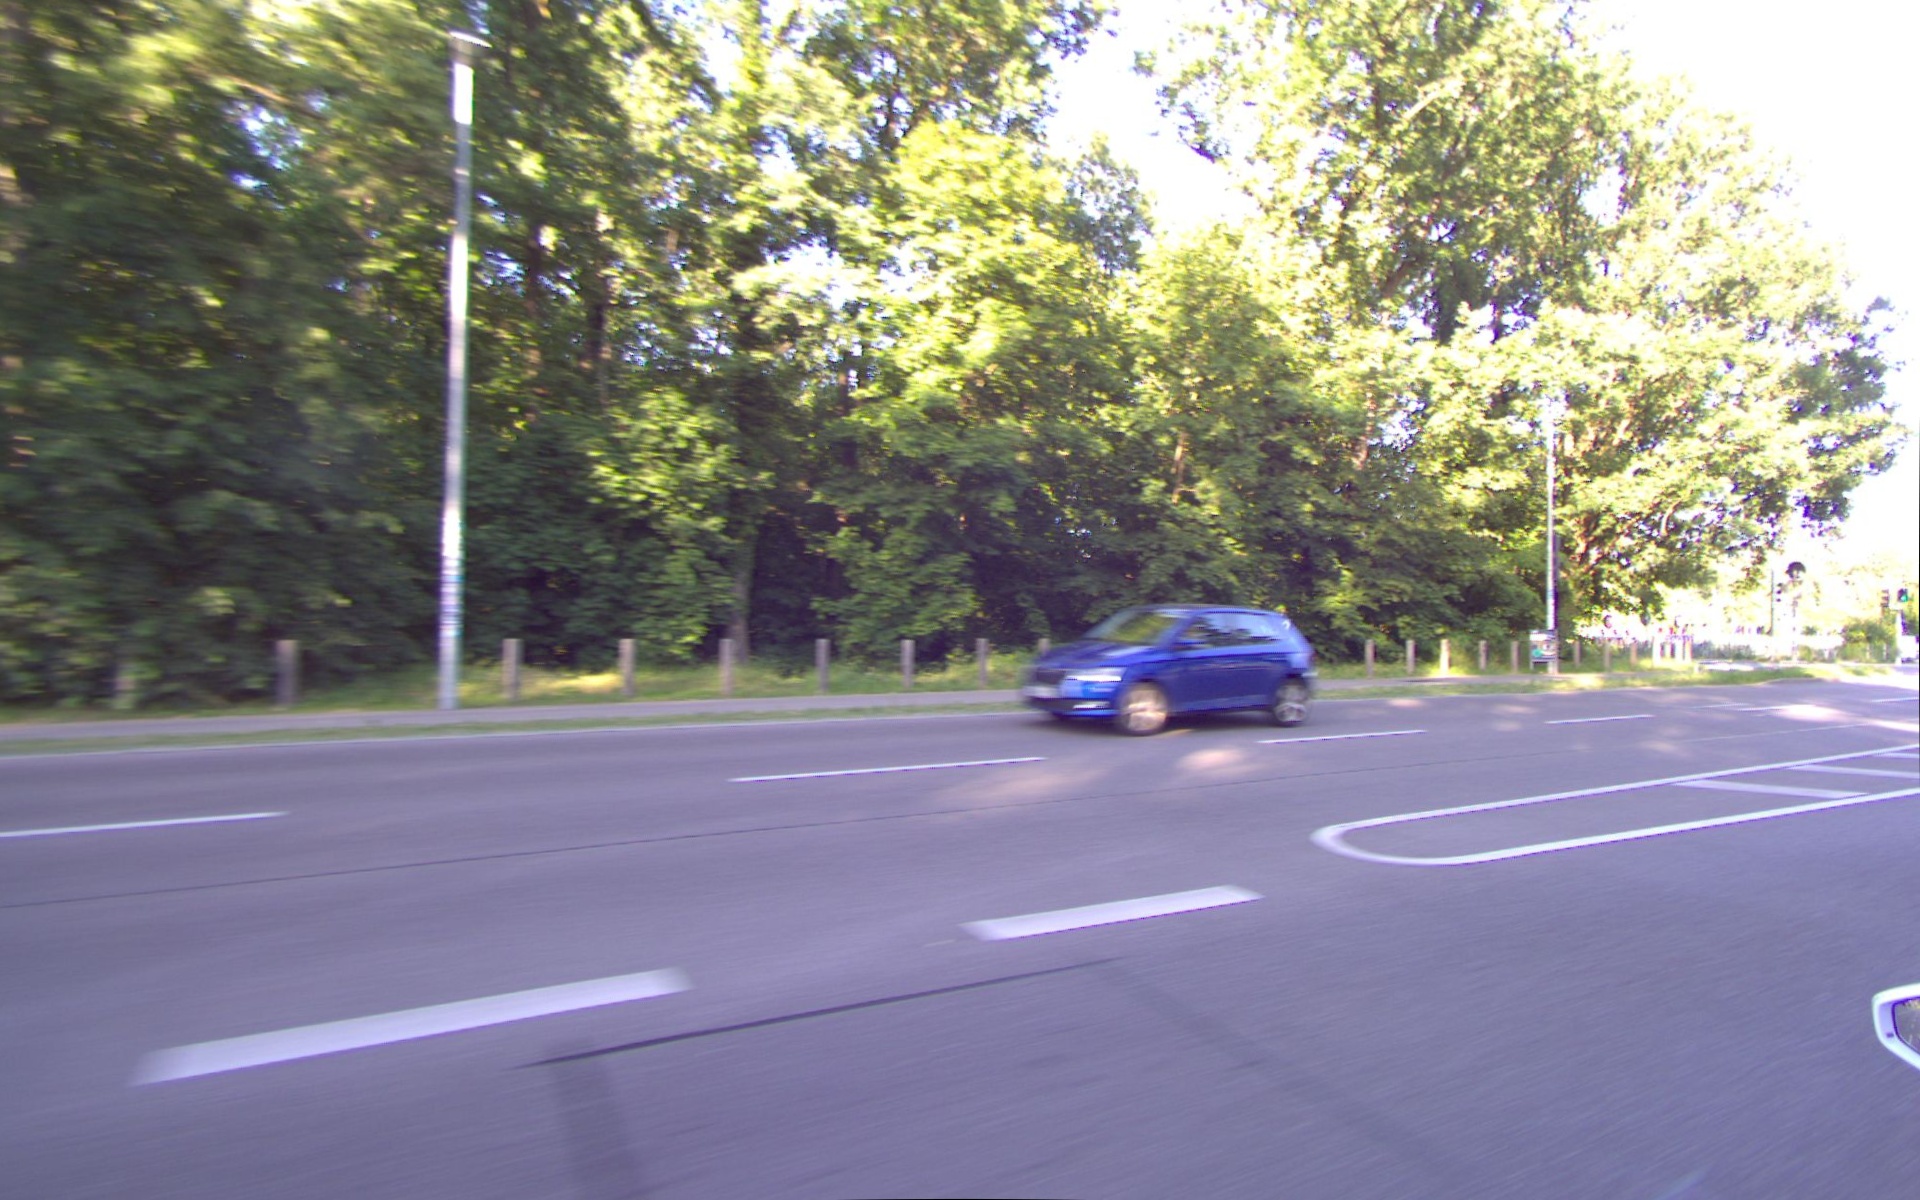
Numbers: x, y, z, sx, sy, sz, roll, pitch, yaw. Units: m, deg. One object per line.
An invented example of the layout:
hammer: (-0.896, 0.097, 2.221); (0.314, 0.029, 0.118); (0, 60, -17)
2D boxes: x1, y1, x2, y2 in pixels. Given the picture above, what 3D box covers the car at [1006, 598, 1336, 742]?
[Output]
car: (2.668, 0.798, 12.432); (3.955, 1.528, 1.647); (2, -1, -31)
